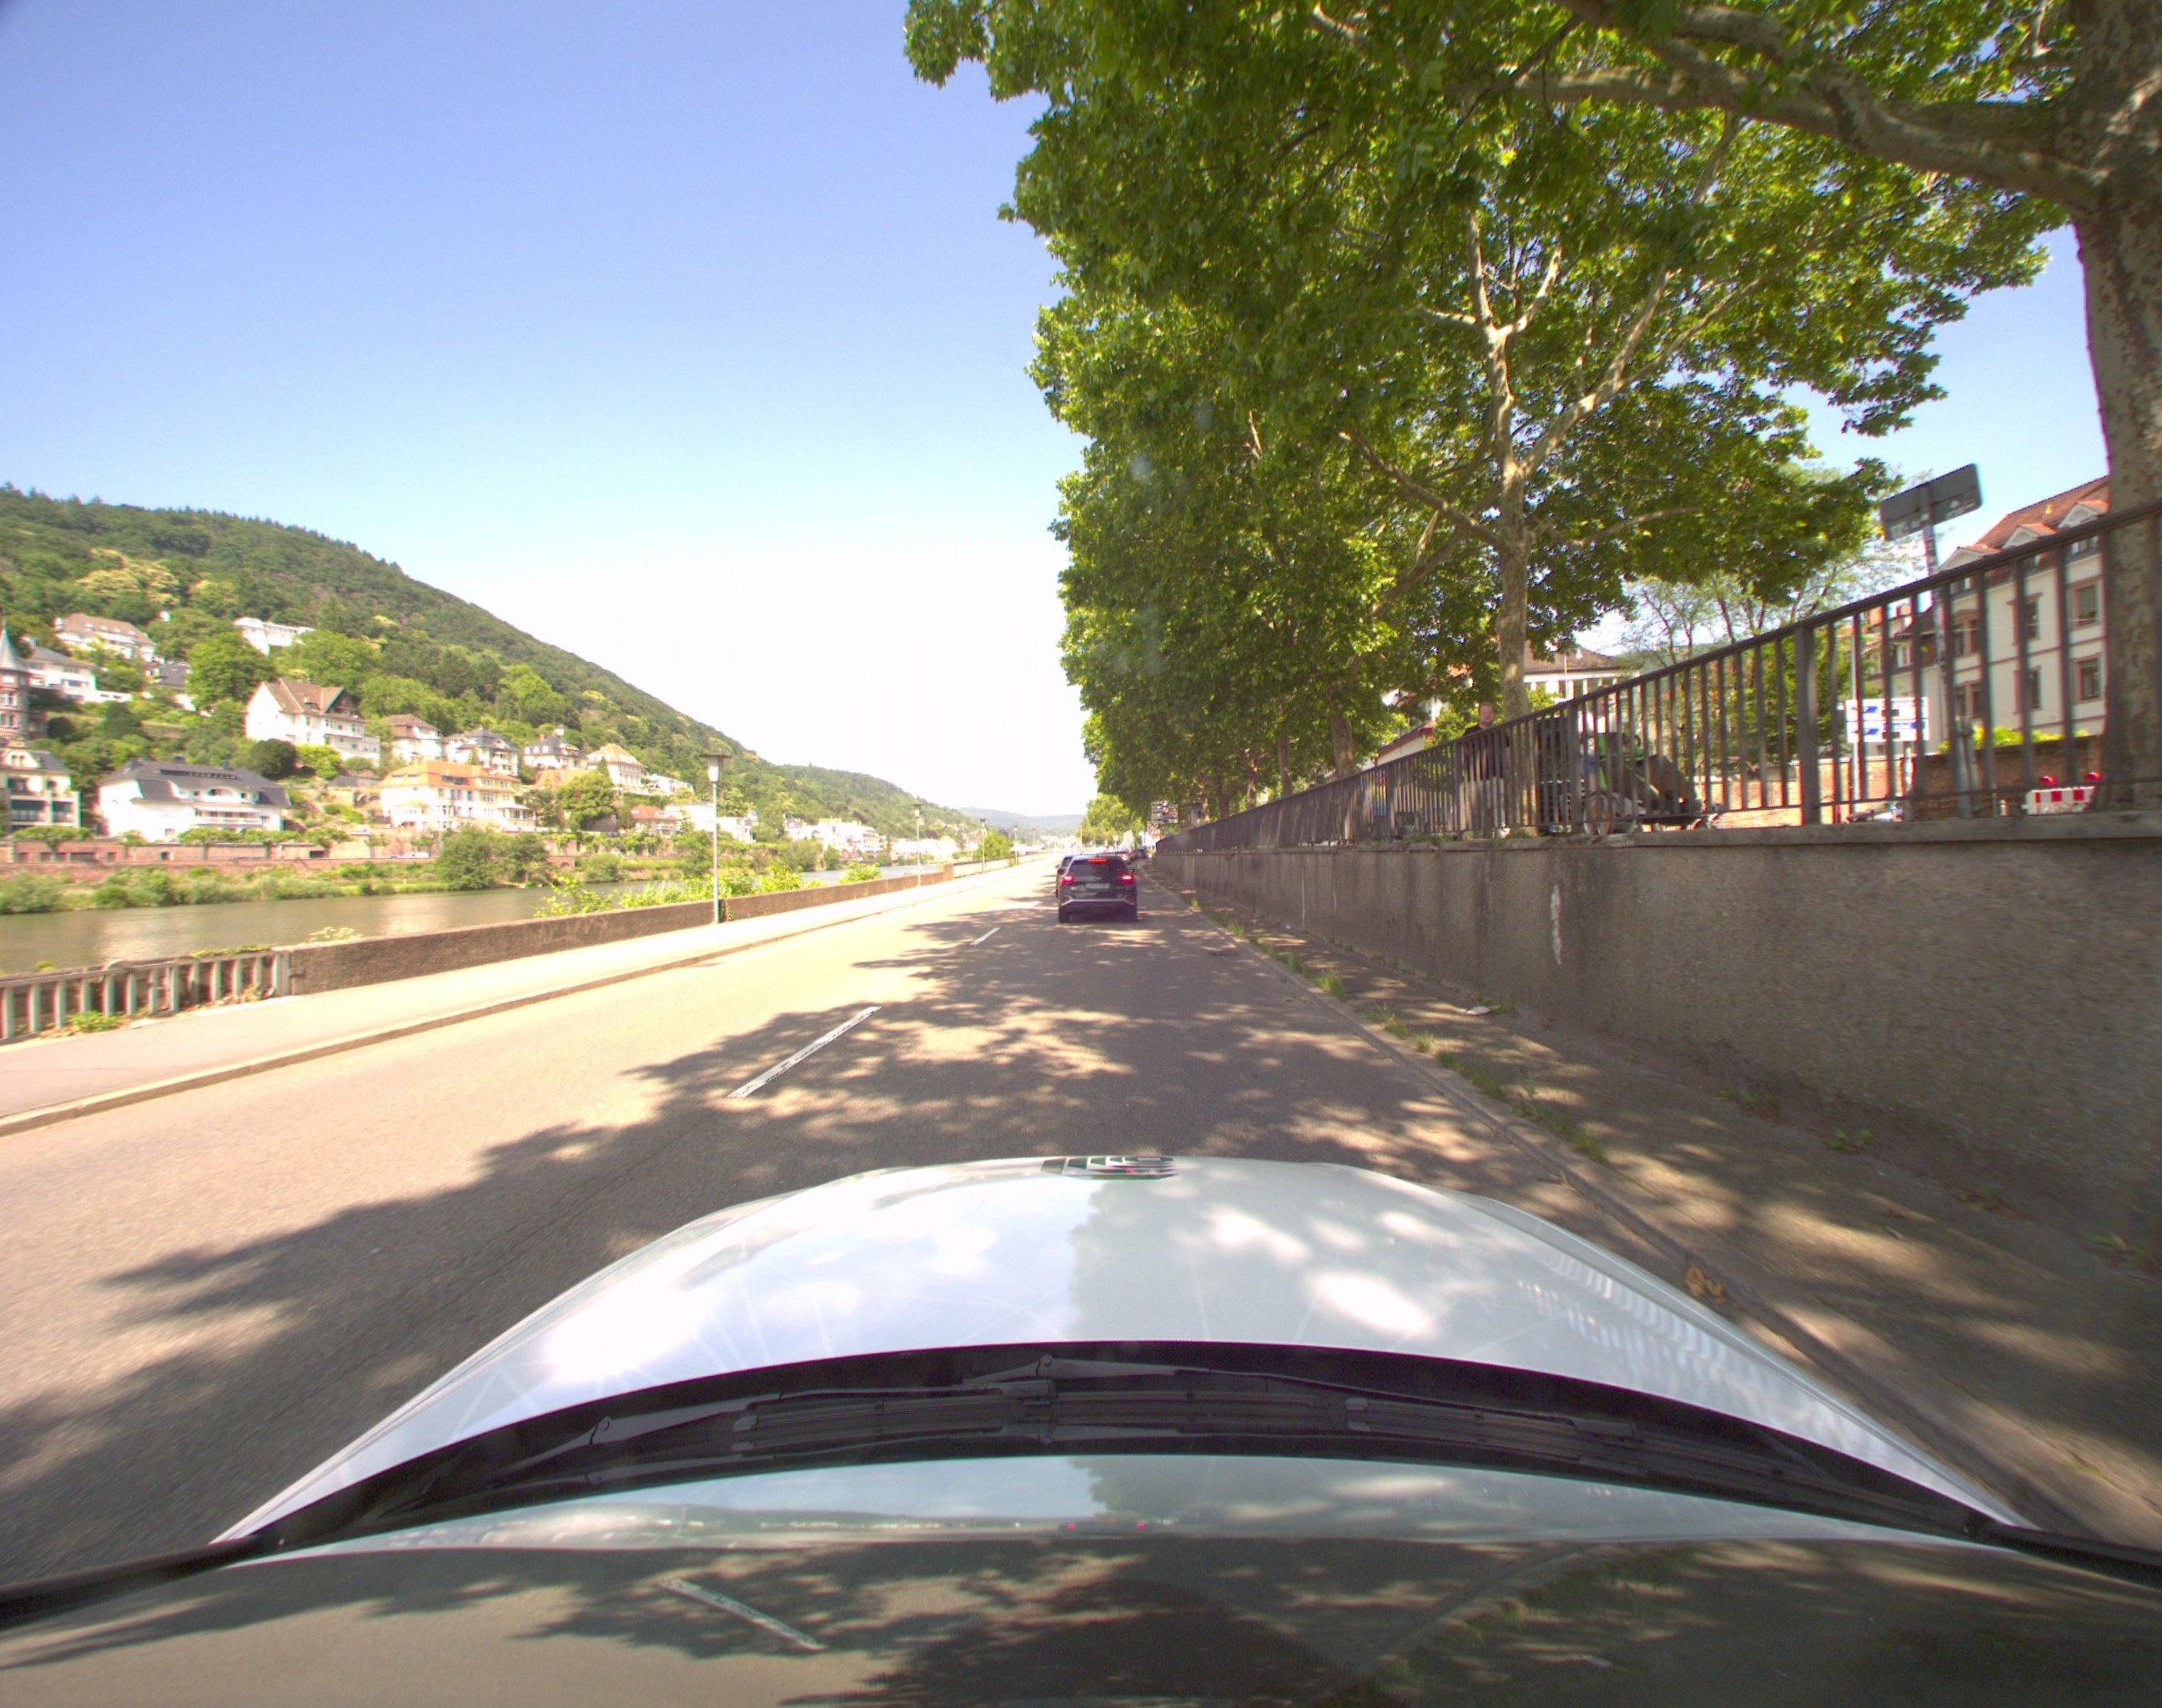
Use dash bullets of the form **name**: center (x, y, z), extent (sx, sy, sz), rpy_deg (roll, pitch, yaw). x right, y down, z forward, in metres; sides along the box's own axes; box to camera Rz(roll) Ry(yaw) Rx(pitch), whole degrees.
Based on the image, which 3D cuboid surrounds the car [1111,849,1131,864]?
- **car**: center (3.970, 0.207, 80.952), extent (1.822, 1.444, 4.001), rpy_deg (-1, 0, 1)

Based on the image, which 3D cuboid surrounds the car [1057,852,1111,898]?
- **car**: center (0.142, 0.708, 29.509), extent (1.822, 1.511, 4.001), rpy_deg (-1, 0, 1)

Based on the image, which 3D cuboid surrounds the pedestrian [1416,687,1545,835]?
- **pedestrian**: center (4.713, -1.061, 9.691), extent (0.933, 1.579, 1.028), rpy_deg (-4, 0, 0)

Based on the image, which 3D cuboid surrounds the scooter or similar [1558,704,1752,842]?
- **scooter or similar**: center (4.922, -0.659, 7.083), extent (0.852, 1.026, 1.108), rpy_deg (-4, 0, 1)

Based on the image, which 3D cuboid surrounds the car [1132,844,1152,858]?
- **car**: center (9.472, -0.481, 126.305), extent (2.652, 2.013, 5.826), rpy_deg (-4, 0, 1)

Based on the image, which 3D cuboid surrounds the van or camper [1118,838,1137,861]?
- **van or camper**: center (6.146, -0.591, 108.052), extent (2.300, 2.847, 4.249), rpy_deg (-4, 0, 3)

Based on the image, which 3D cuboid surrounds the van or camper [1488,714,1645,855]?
- **van or camper**: center (10.265, -1.165, 17.266), extent (2.315, 2.184, 7.402), rpy_deg (1, -1, 31)

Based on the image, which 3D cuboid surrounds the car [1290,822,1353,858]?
- **car**: center (10.582, -0.612, 35.661), extent (1.757, 1.469, 4.025), rpy_deg (-1, 0, 30)

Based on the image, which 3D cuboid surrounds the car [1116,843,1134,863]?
- **car**: center (5.367, -0.121, 99.258), extent (1.986, 2.169, 4.001), rpy_deg (-4, 0, 1)

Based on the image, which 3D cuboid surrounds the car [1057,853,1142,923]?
- **car**: center (0.446, 0.740, 19.616), extent (1.822, 1.486, 4.001), rpy_deg (-1, 0, 1)

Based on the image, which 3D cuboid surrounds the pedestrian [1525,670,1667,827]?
- **pedestrian**: center (4.995, -0.983, 7.967), extent (0.678, 1.365, 0.990), rpy_deg (-4, 0, 1)

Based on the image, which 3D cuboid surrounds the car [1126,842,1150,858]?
- **car**: center (8.166, -0.574, 117.698), extent (3.087, 2.013, 5.826), rpy_deg (-4, 0, 1)

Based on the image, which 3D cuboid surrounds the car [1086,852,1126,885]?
- **car**: center (1.195, 0.654, 39.268), extent (1.822, 1.486, 4.001), rpy_deg (-1, 0, 1)

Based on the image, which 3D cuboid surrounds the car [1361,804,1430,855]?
- **car**: center (10.258, -0.738, 26.405), extent (1.633, 1.500, 3.841), rpy_deg (-1, 0, 27)

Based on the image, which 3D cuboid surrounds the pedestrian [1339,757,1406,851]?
- **pedestrian**: center (4.707, -0.781, 13.204), extent (0.678, 1.424, 0.949), rpy_deg (-4, 0, 1)
